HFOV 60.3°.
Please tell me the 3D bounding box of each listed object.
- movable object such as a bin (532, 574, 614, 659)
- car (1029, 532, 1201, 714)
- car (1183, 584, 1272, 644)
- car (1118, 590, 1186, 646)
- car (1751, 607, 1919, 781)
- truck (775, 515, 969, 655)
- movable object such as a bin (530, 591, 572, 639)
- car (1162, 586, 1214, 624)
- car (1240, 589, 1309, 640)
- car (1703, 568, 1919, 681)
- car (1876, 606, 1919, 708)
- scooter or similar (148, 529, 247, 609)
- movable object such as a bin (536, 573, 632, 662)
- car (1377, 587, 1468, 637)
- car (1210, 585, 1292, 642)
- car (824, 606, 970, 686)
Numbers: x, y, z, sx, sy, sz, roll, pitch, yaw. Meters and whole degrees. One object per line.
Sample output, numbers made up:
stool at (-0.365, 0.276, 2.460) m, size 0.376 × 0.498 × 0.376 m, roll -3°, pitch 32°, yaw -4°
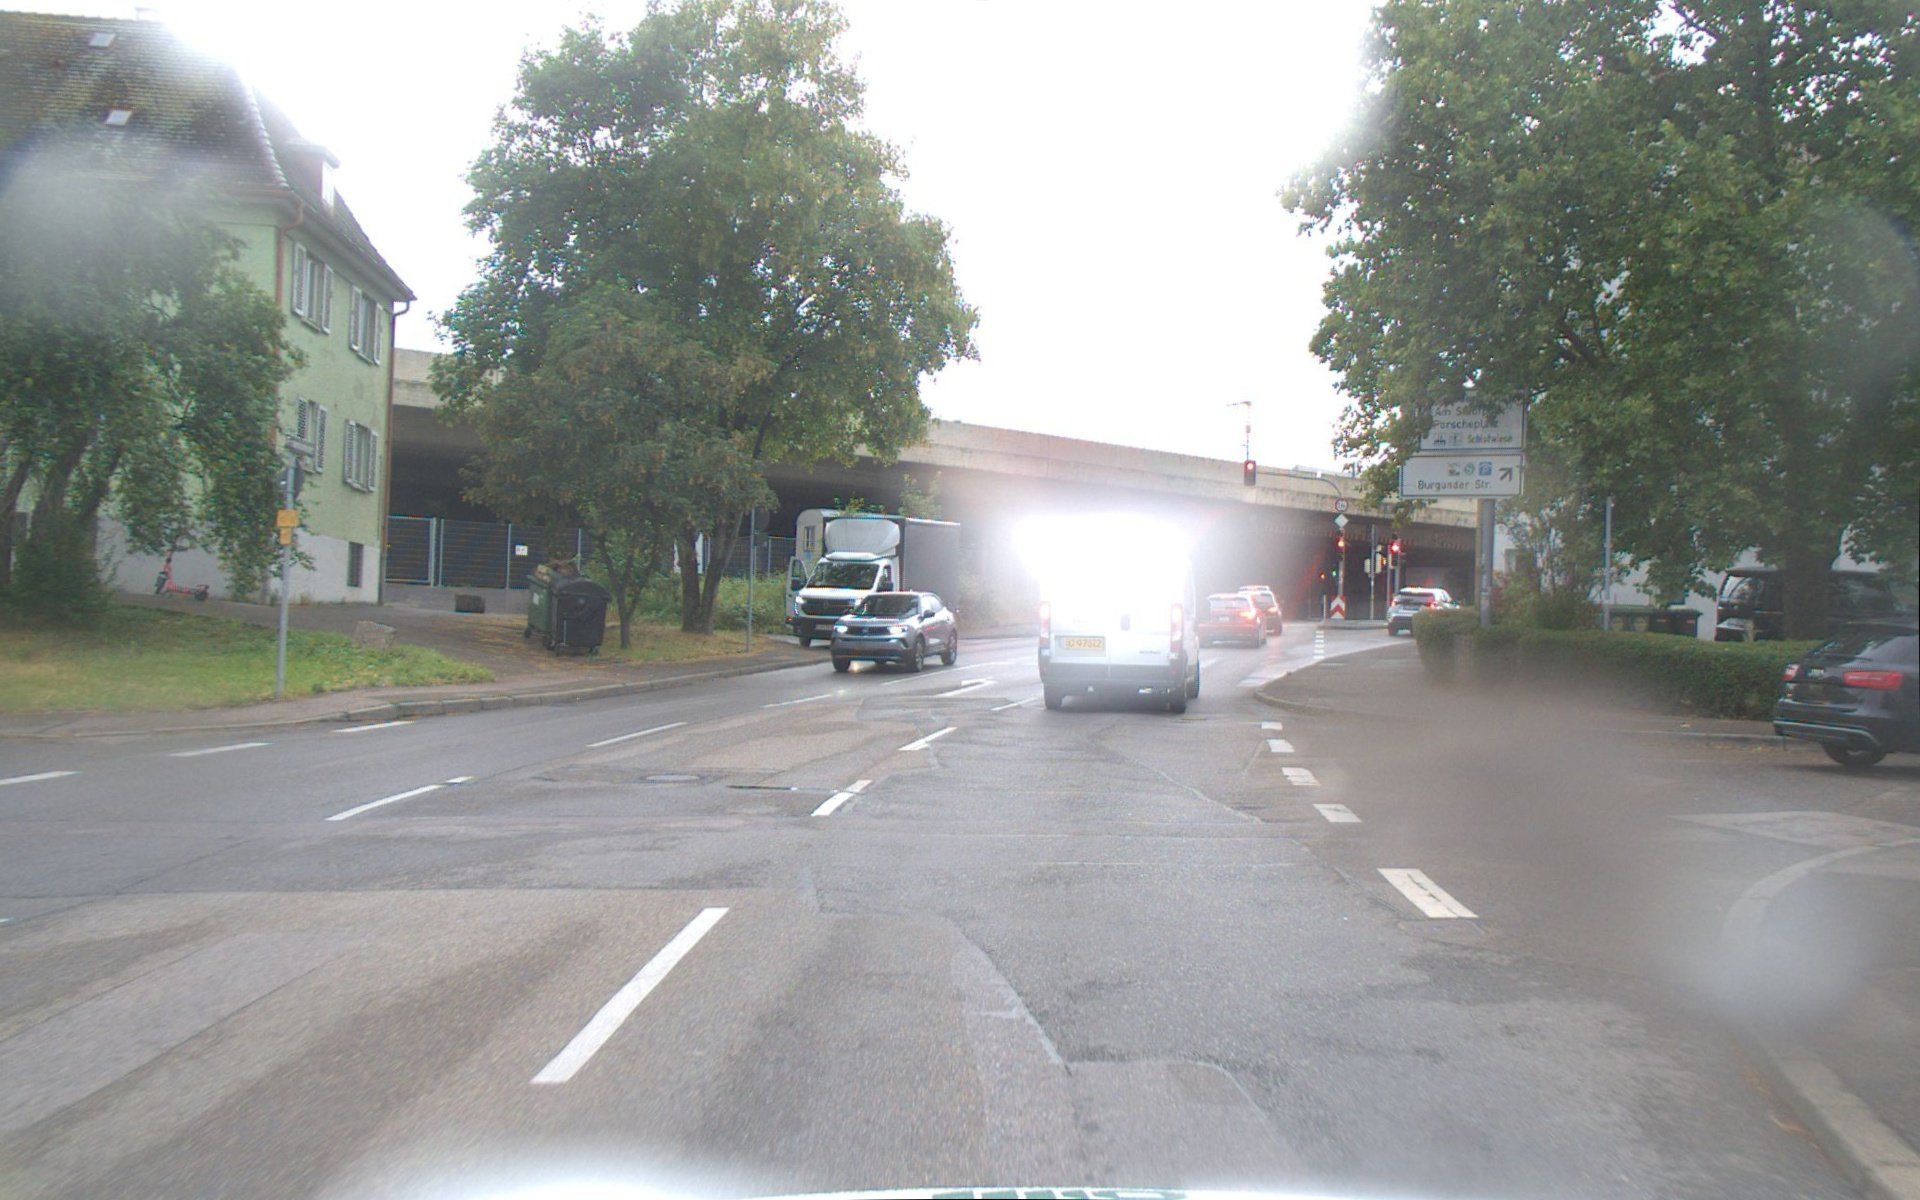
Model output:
movable object such as a bin at (-7.732, 0.315, 32.990) m, size 1.086 × 1.461 × 1.448 m, roll 4°, pitch 4°, yaw -32°
car at (2.440, 0.259, 24.758) m, size 2.256 × 2.384 × 5.287 m, roll 1°, pitch 1°, yaw 8°
car at (7.442, 0.382, 45.667) m, size 1.951 × 1.540 × 4.002 m, roll 1°, pitch 0°, yaw 16°
car at (7.087, 0.633, 60.736) m, size 1.916 × 1.965 × 4.687 m, roll 1°, pitch 0°, yaw 13°
car at (10.269, 0.834, 15.787) m, size 4.714 × 1.506 × 1.882 m, roll 0°, pitch 0°, yaw -10°
truck at (-2.113, -0.365, 43.446) m, size 2.555 × 3.293 × 7.780 m, roll 1°, pitch 0°, yaw 17°
movable object such as a bin at (-8.482, 0.313, 34.305) m, size 0.545 × 0.974 × 0.724 m, roll 1°, pitch -1°, yaw 15°
car at (10.482, 0.209, 75.918) m, size 1.792 × 1.606 × 4.337 m, roll 2°, pitch 2°, yaw 15°
car at (11.469, 0.542, 60.123) m, size 1.952 × 1.759 × 4.001 m, roll 1°, pitch 0°, yaw 18°
car at (16.255, 0.442, 30.402) m, size 4.315 × 1.966 × 1.998 m, roll 1°, pitch 0°, yaw -6°
car at (17.292, 0.940, 26.794) m, size 3.905 × 1.608 × 1.823 m, roll 1°, pitch 0°, yaw 0°
scooter or similar at (-13.755, -0.559, 29.848) m, size 1.488 × 1.295 × 0.531 m, roll 5°, pitch 0°, yaw 10°
movable object such as a bin at (-7.199, 0.326, 31.621) m, size 1.277 × 1.461 × 1.448 m, roll 4°, pitch 4°, yaw -32°
car at (15.436, 0.419, 55.083) m, size 1.957 × 1.576 × 3.992 m, roll 1°, pitch -1°, yaw 30°
car at (9.553, 0.455, 53.997) m, size 1.952 × 1.759 × 4.000 m, roll 1°, pitch 0°, yaw 20°
car at (-1.208, 0.875, 33.577) m, size 1.855 × 1.487 × 4.003 m, roll 1°, pitch 0°, yaw 15°
